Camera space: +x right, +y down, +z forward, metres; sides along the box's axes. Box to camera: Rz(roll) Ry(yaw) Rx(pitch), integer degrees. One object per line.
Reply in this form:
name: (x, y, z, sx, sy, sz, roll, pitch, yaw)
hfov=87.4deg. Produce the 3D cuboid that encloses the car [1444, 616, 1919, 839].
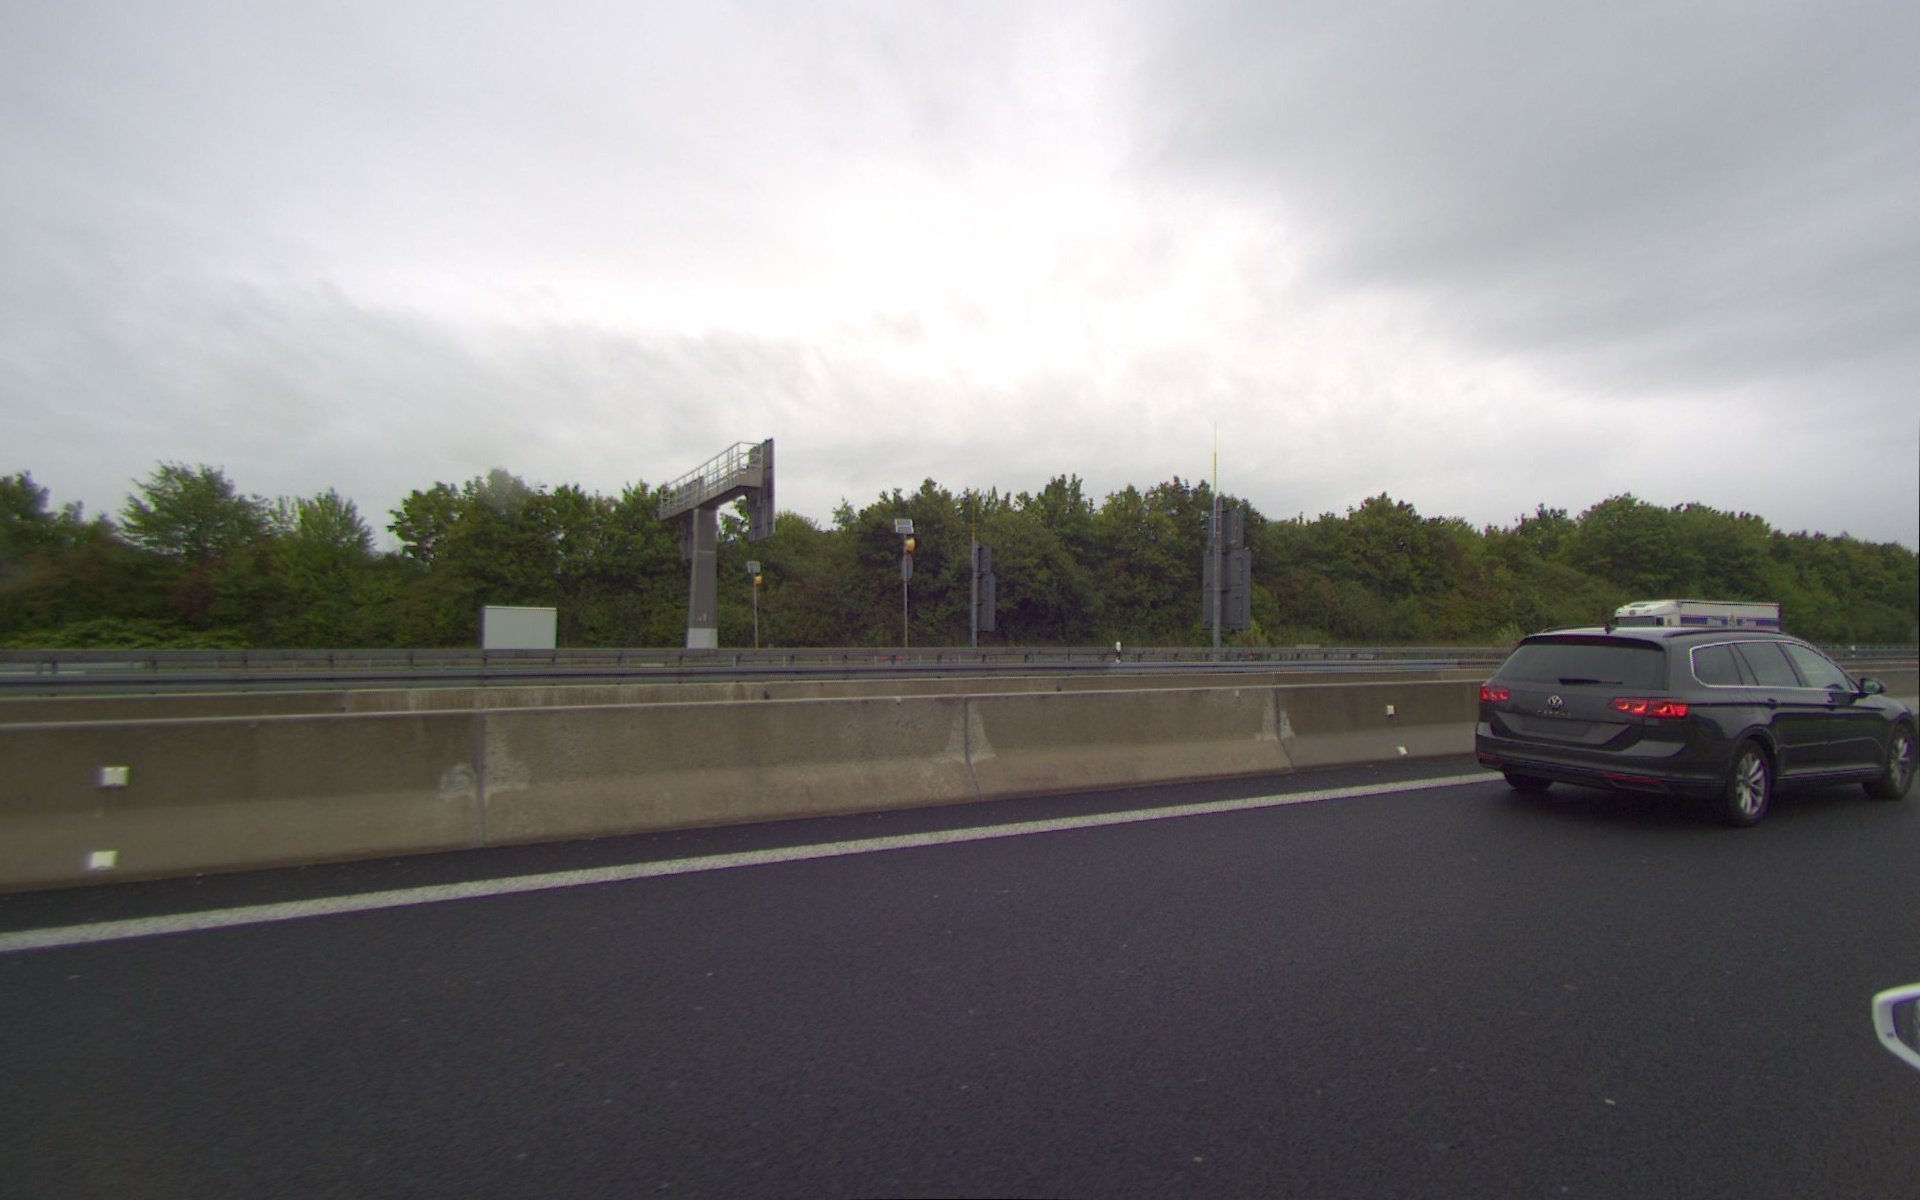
car: (6.546, 0.936, 8.738, 4.743, 1.478, 1.780, 2, 0, -29)

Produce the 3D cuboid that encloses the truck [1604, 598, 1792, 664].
truck: (47.765, 2.068, 64.664, 16.929, 3.859, 3.164, 1, -2, -30)
